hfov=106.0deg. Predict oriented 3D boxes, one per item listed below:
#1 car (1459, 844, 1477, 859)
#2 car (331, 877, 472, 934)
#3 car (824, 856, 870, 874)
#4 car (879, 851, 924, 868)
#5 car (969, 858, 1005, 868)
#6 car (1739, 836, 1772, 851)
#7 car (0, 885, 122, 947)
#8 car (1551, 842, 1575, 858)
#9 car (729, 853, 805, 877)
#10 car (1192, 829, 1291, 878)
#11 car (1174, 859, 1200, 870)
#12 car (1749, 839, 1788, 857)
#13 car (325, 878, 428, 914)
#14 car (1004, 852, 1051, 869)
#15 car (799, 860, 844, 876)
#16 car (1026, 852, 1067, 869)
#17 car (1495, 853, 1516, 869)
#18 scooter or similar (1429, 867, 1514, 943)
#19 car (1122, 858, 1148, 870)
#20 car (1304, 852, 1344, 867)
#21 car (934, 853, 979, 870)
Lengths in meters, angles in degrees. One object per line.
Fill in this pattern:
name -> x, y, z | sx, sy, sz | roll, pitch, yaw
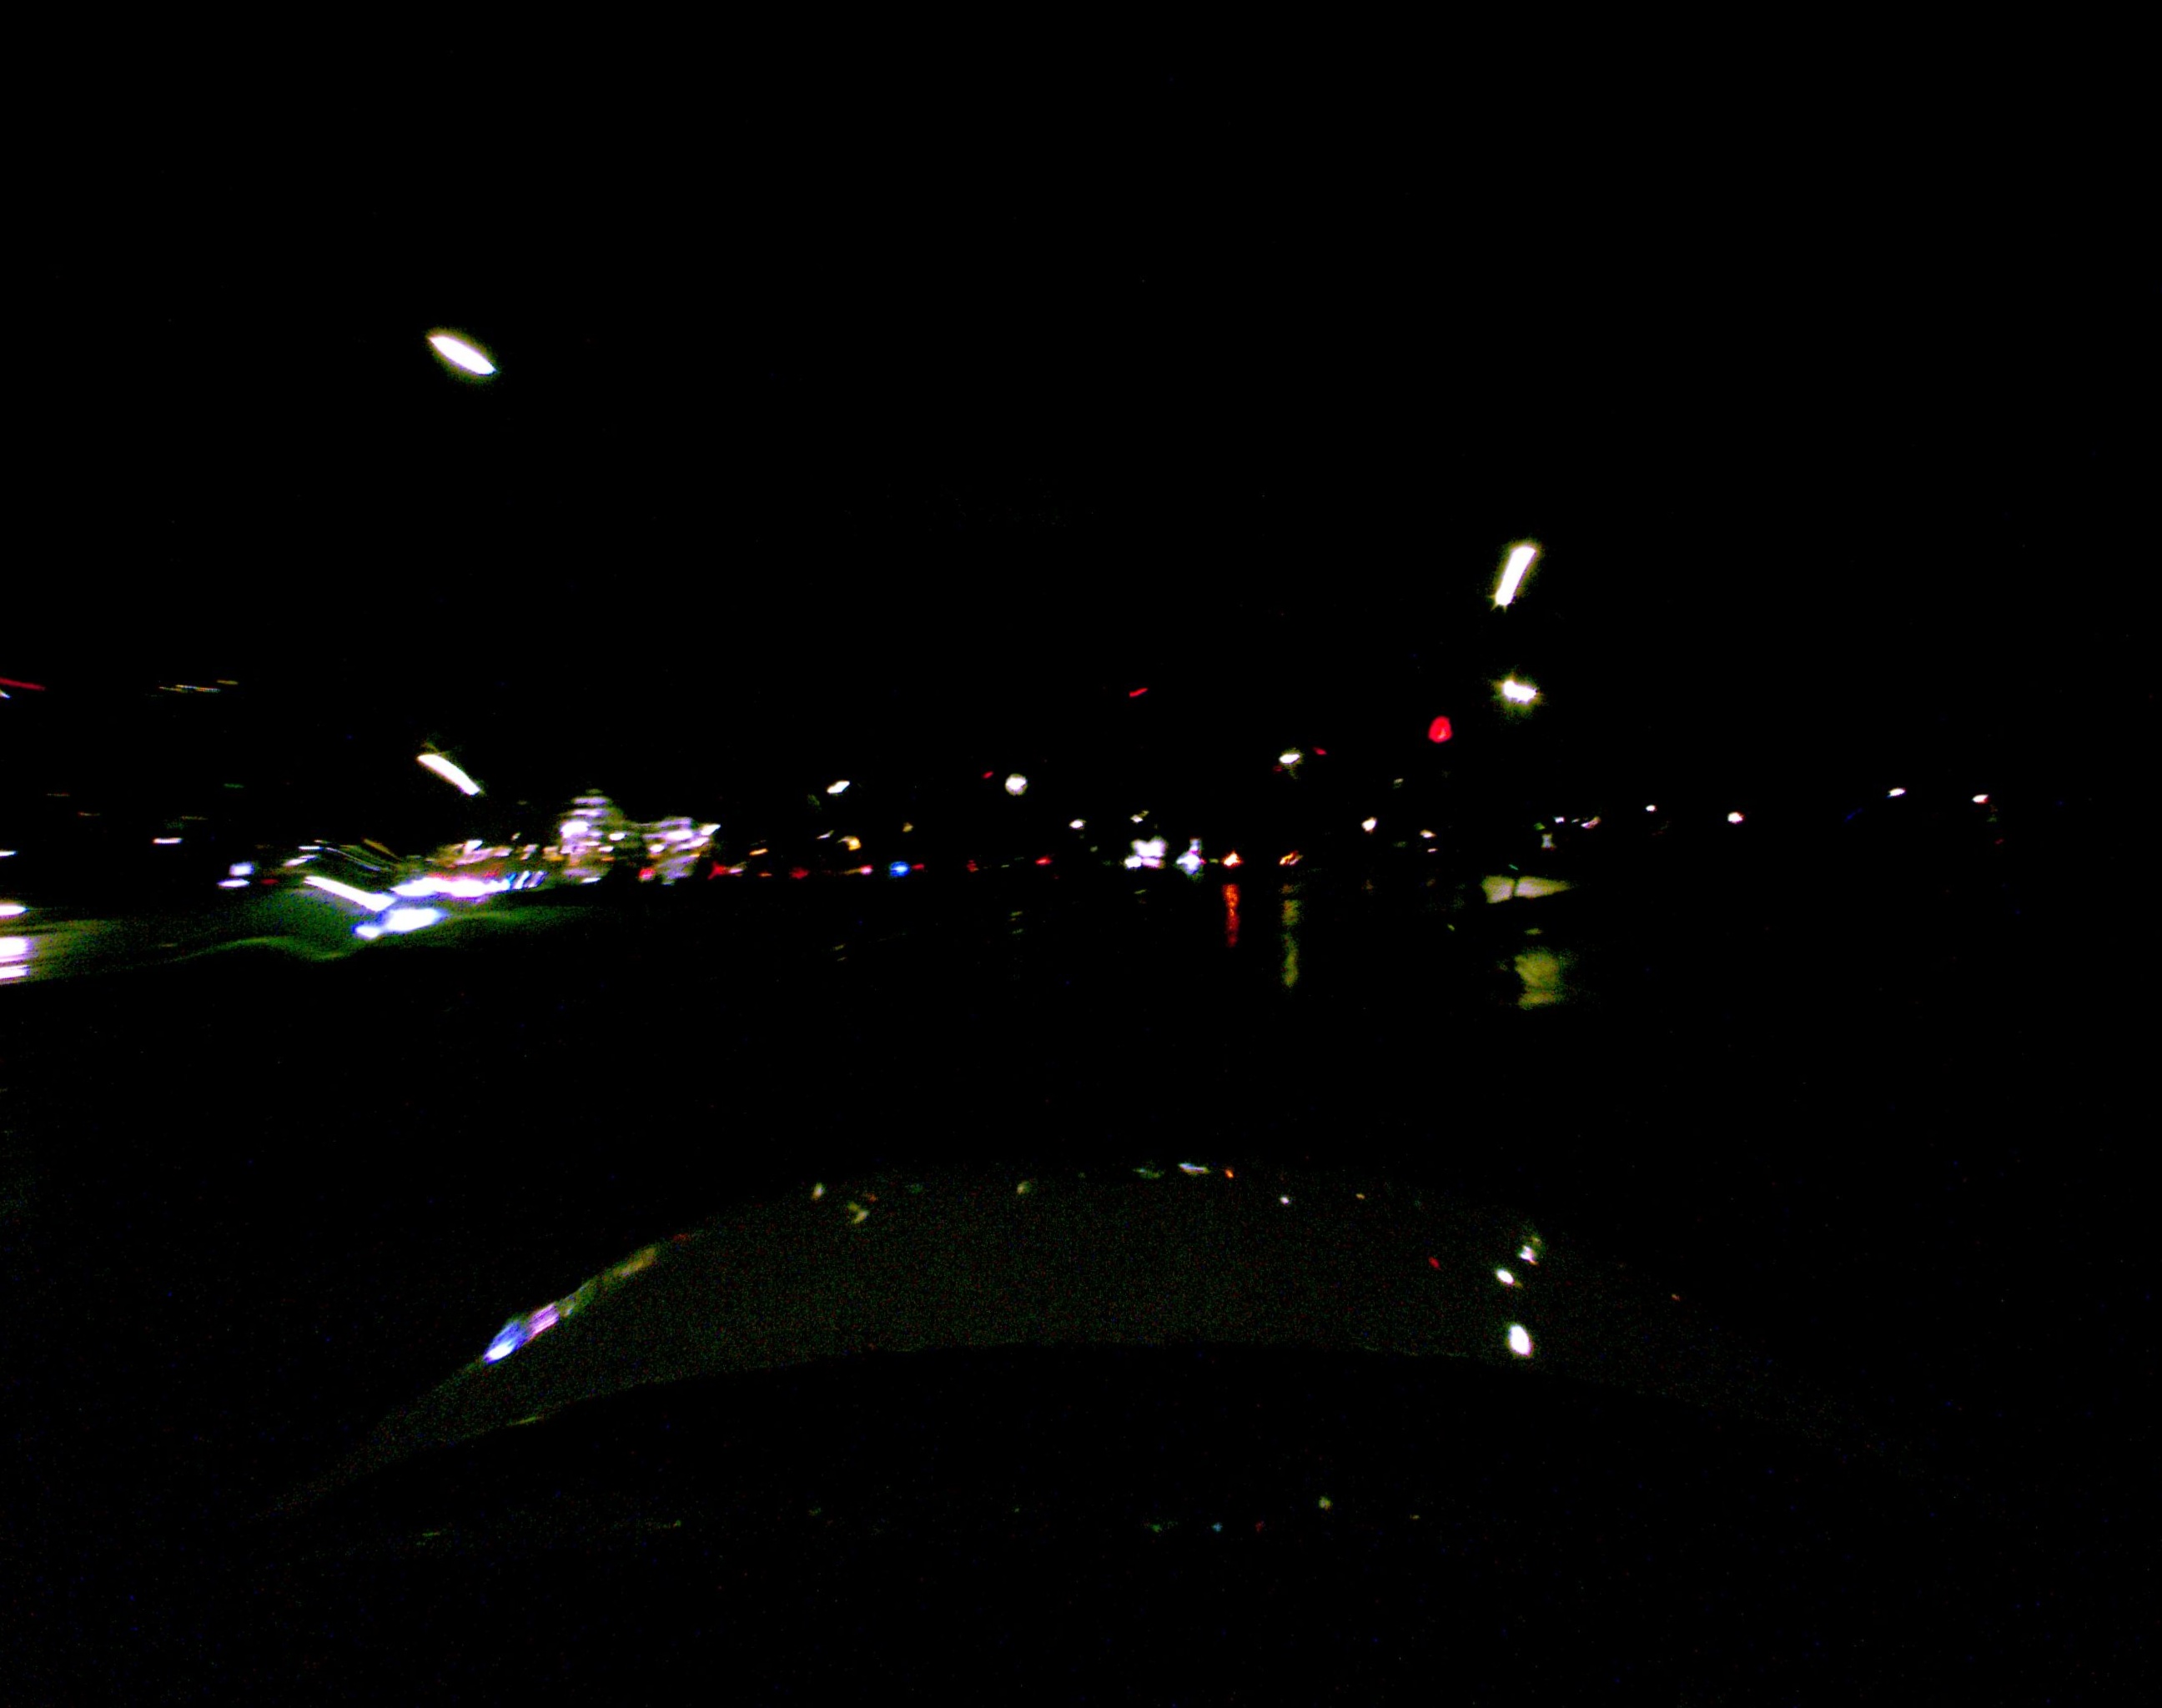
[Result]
car -> 40.485, -0.285, 85.259 | 1.700, 1.497, 3.934 | 0, 0, 25
car -> -24.829, 1.800, 30.037 | 2.060, 1.732, 5.104 | 0, 0, -16
car -> -22.176, 1.053, 77.302 | 3.987, 1.616, 1.830 | 0, 0, -10
car -> -17.029, 0.551, 77.502 | 3.945, 1.579, 1.734 | 0, 0, -5
car -> -9.738, 0.922, 84.190 | 3.609, 1.031, 1.473 | 0, 0, -4
car -> 69.497, -1.047, 83.938 | 1.700, 1.536, 3.934 | 0, 0, 25
car -> -30.920, 1.762, 23.736 | 2.001, 1.540, 4.384 | 0, 0, -22
car -> 48.114, -0.412, 81.290 | 1.700, 1.497, 3.934 | 0, 0, 25
car -> -28.771, 0.967, 74.724 | 6.329, 2.089, 2.493 | 0, 0, -28
car -> 7.198, -0.025, 36.230 | 4.582, 2.013, 1.976 | 0, 0, -42
car -> 16.122, 1.575, 123.975 | 1.974, 1.736, 4.649 | -1, 0, 36
car -> 62.802, -0.539, 74.435 | 1.700, 1.536, 3.934 | 0, 0, 25
car -> -44.291, 2.596, 51.321 | 1.975, 2.013, 4.448 | 0, 0, 25
car -> -5.013, 0.615, 76.331 | 3.952, 1.616, 1.847 | 0, 0, 23
car -> -25.684, 1.399, 80.672 | 3.989, 1.486, 1.762 | 0, 0, -12
car -> -3.315, 0.636, 79.095 | 3.585, 1.579, 1.746 | 0, 0, 23
car -> 43.481, 0.748, 83.409 | 1.700, 1.497, 3.933 | -2, -4, 25
scooter or similar -> 5.867, 0.768, 12.270 | 1.091, 1.098, 0.320 | -3, -1, 25
car -> 7.416, 1.341, 111.050 | 1.840, 1.640, 3.916 | 0, 0, 33
car -> 27.715, 0.577, 92.889 | 3.948, 1.684, 1.931 | 0, 0, 34
car -> -11.878, 0.717, 77.597 | 3.937, 1.579, 1.878 | 0, 0, 2
